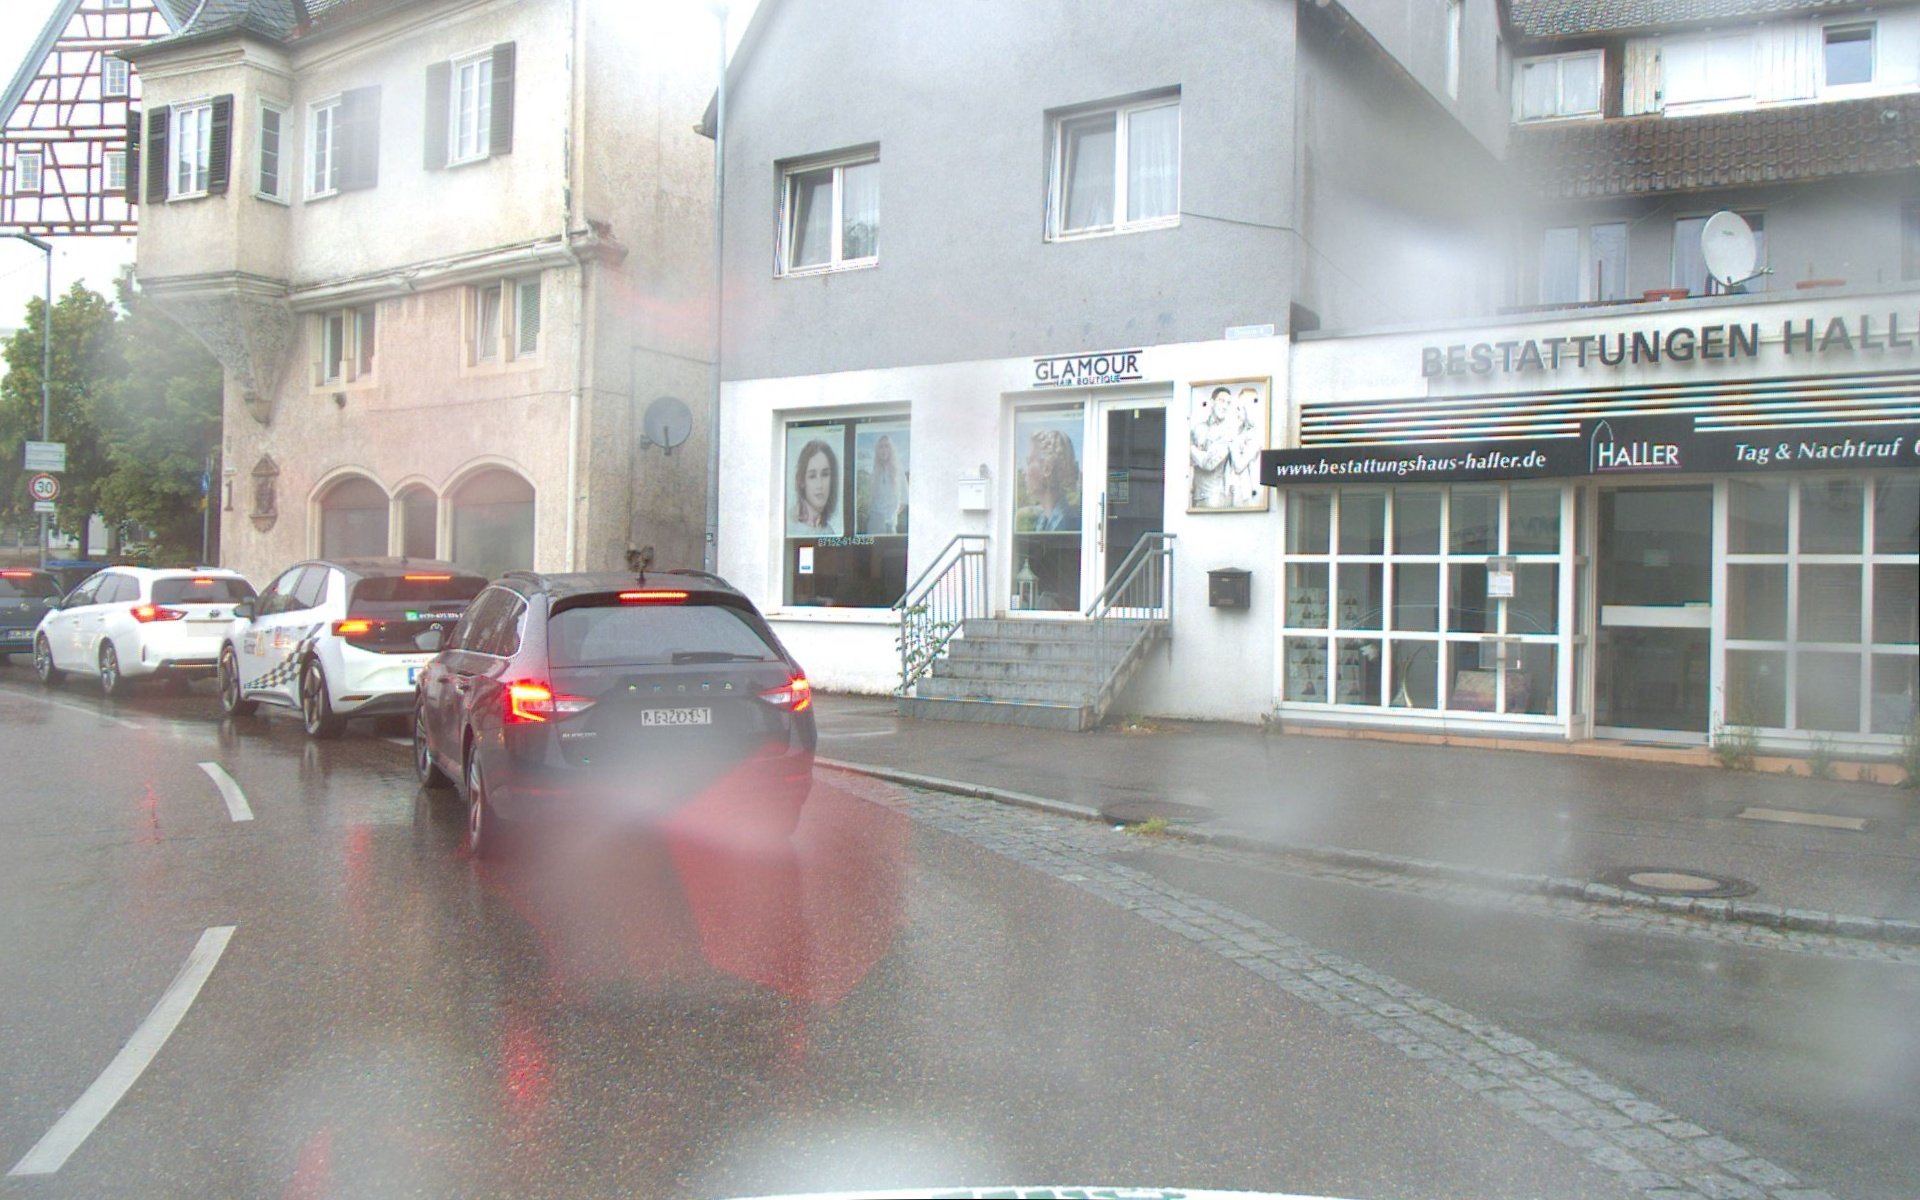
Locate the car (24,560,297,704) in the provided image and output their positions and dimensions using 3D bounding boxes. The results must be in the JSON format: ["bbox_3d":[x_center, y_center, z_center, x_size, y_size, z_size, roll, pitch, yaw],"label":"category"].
[{"bbox_3d":[-9.768,0.295,20.077,1.778,1.490,4.096,-2,3,-45],"label":"car"}]

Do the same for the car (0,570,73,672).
[{"bbox_3d":[-14.898,0.266,24.965,3.701,1.385,1.514,2,3,42],"label":"car"}]

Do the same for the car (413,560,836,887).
[{"bbox_3d":[-2.221,0.519,9.938,1.709,1.475,4.212,0,2,-23],"label":"car"}]

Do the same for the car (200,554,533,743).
[{"bbox_3d":[-5.779,0.360,15.801,1.777,1.543,4.183,-1,1,-38],"label":"car"}]
